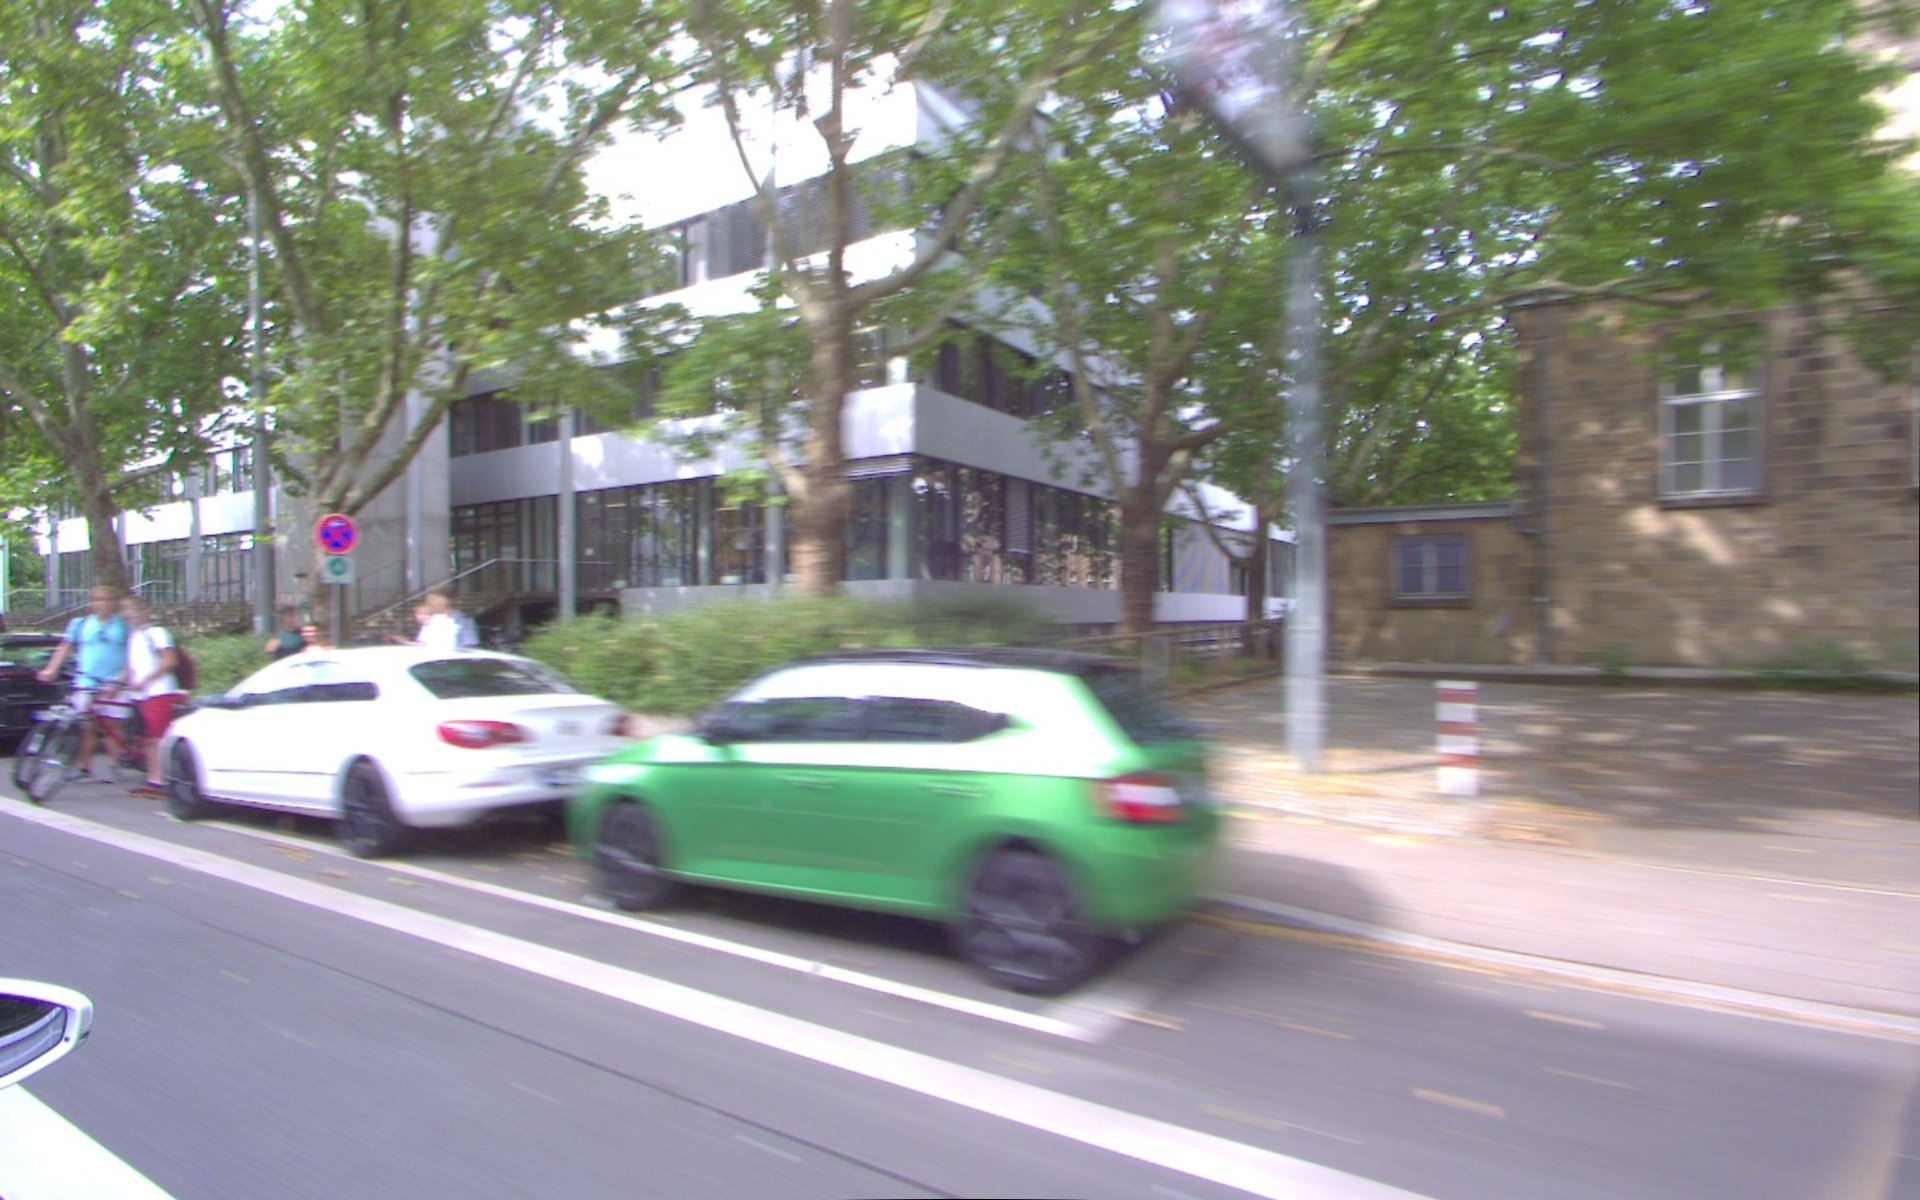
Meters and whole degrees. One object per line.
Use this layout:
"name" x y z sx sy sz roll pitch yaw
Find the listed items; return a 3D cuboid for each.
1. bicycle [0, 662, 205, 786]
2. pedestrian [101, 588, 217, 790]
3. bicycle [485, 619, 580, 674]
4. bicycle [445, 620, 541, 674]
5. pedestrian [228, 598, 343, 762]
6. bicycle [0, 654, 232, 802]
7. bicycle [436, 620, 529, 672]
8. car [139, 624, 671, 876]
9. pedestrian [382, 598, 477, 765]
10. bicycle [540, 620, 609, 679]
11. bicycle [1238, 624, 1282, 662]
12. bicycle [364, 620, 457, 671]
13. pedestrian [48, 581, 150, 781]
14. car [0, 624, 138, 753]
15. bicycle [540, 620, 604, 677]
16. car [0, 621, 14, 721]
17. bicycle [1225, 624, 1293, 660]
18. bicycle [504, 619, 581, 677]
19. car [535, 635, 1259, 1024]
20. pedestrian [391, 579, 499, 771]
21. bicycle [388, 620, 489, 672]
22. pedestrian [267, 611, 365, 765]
"bicycle" -8.960 1.234 10.415 0.543 1.119 1.737 0 -2 21
"pedestrian" -7.672 0.831 9.602 0.731 1.869 0.521 0 -1 18
"bicycle" -9.540 1.020 22.398 0.664 1.132 1.910 0 0 32
"bicycle" -10.579 1.031 22.761 0.664 1.132 1.910 0 0 32
"pedestrian" -7.957 0.921 11.828 0.769 1.840 0.869 0 -1 33
"bicycle" -8.005 1.147 9.515 0.543 1.233 1.794 0 -2 15
"bicycle" -11.238 1.060 23.605 0.664 1.132 1.910 0 0 32
"car" -4.558 0.995 8.033 4.477 1.535 1.679 -1 -3 31
"pedestrian" -6.223 0.930 11.763 0.693 1.879 0.720 0 -1 33
"bicycle" -7.891 0.992 20.530 0.461 1.132 1.378 0 0 25
"bicycle" 7.460 1.051 24.843 0.502 0.889 1.614 -3 -2 37
"bicycle" -13.433 1.090 24.521 0.664 1.132 1.910 0 0 32
"pedestrian" -8.774 0.806 10.210 0.732 1.959 0.475 0 -1 22
"car" -12.530 1.082 13.258 3.608 1.521 1.525 -1 -2 33
"bicycle" -8.189 1.000 21.182 0.502 1.132 1.380 0 0 18
"car" -16.459 1.111 15.953 2.565 1.563 1.532 -1 -2 36
"bicycle" 7.745 1.101 26.001 1.606 0.889 0.475 -3 -2 39
"bicycle" -8.822 0.998 21.248 0.611 1.132 1.697 0 0 14
"car" -0.440 0.966 5.537 3.749 1.467 1.586 -1 -3 31
"pedestrian" -5.721 0.811 11.138 0.739 2.023 0.792 0 -1 33
"bicycle" -12.343 1.065 23.780 0.664 1.132 2.074 0 0 32
"pedestrian" -7.324 0.977 11.394 0.645 1.679 0.720 0 -1 33
